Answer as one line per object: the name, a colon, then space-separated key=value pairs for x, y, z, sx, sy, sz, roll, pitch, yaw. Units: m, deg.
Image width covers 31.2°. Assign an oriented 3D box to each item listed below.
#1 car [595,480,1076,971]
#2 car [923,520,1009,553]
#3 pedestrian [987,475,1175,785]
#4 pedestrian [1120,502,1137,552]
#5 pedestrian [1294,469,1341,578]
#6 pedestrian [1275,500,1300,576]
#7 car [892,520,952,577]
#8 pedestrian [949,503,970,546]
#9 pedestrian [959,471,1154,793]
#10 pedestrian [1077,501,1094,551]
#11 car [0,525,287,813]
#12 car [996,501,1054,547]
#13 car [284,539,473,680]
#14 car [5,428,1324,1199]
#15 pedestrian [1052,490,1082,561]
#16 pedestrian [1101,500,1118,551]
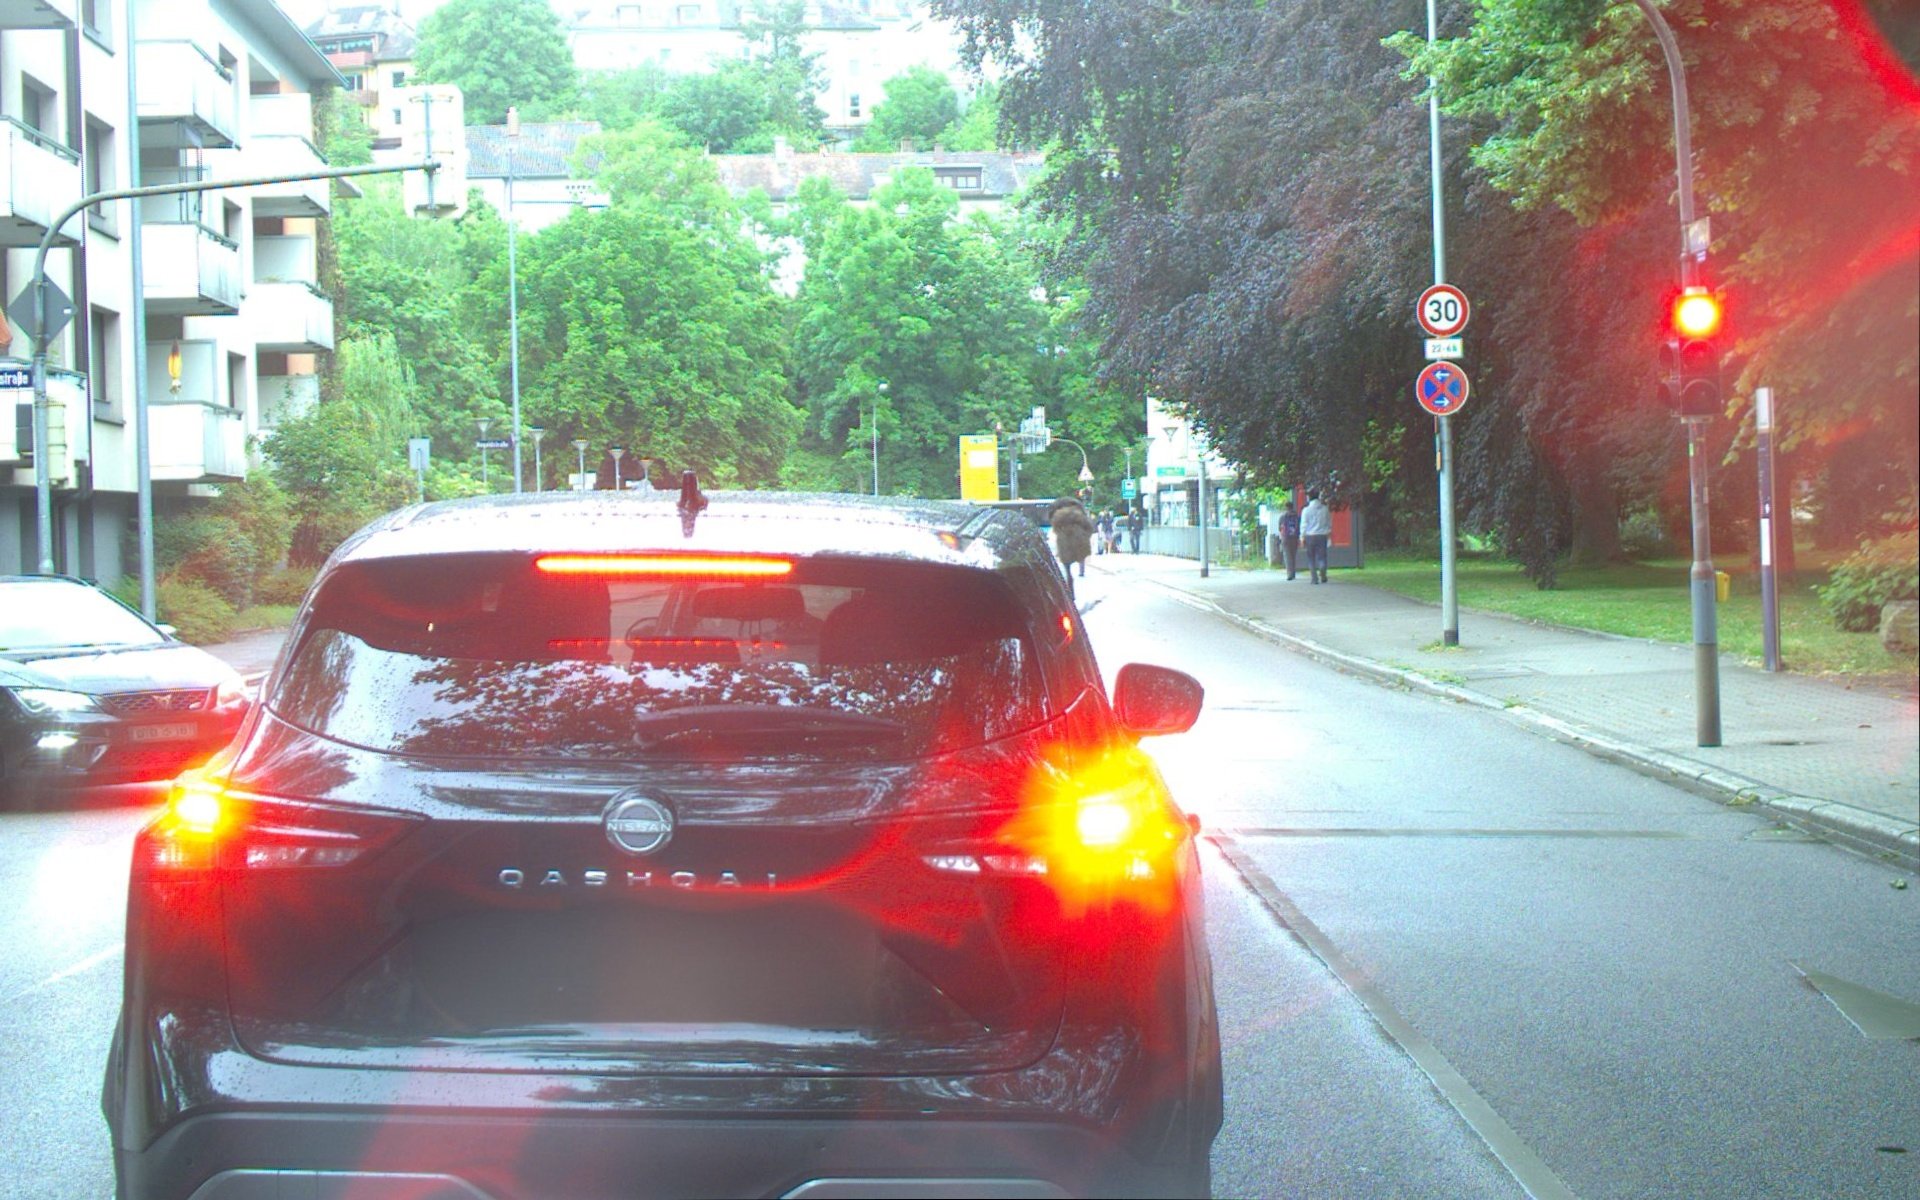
car: x=-0.476 y=0.419 z=14.416 sx=1.698 sy=1.739 sz=3.641 roll=-2 pitch=1 yaw=-1
car: x=0.311 y=-3.220 z=174.045 sx=3.953 sy=1.527 sz=1.640 roll=-3 pitch=1 yaw=-21
pedestrian: x=0.738 y=0.173 z=21.164 sx=1.035 sy=1.869 sz=0.658 roll=0 pitch=1 yaw=-11
pedestrian: x=6.090 y=-2.627 z=124.044 sx=0.508 sy=1.795 sz=0.619 roll=-2 pitch=1 yaw=-2
pedestrian: x=6.676 y=-1.430 z=64.260 sx=0.725 sy=2.007 sz=0.851 roll=-2 pitch=1 yaw=0
pedestrian: x=6.548 y=-1.246 z=68.755 sx=0.390 sy=1.497 sz=0.559 roll=-2 pitch=1 yaw=0
car: x=-1.083 y=-1.492 z=98.651 sx=1.634 sy=1.527 sz=3.968 roll=-2 pitch=1 yaw=-1
pedestrian: x=-0.010 y=-2.969 z=135.243 sx=0.509 sy=1.667 sz=0.658 roll=-1 pitch=1 yaw=27
pedestrian: x=0.566 y=0.180 z=20.412 sx=1.035 sy=1.869 sz=0.658 roll=0 pitch=1 yaw=-11
pedestrian: x=4.552 y=-2.694 z=124.662 sx=0.508 sy=1.795 sz=0.619 roll=-2 pitch=1 yaw=-1
car: x=-6.222 y=0.405 z=22.155 sx=1.846 sy=1.620 sz=4.136 roll=-3 pitch=2 yaw=-40
car: x=2.561 y=-2.957 z=134.651 sx=1.994 sy=1.729 sz=3.999 roll=1 pitch=1 yaw=4
car: x=-6.872 y=0.069 z=40.961 sx=1.795 sy=1.528 sz=3.868 roll=-2 pitch=1 yaw=-4
car: x=-0.448 y=0.547 z=7.003 sx=1.913 sy=1.674 sz=4.000 roll=0 pitch=1 yaw=0
pedestrian: x=2.728 y=-1.896 z=87.581 sx=0.508 sy=1.795 sz=0.620 roll=-2 pitch=1 yaw=-21
pedestrian: x=5.382 y=-2.689 z=123.966 sx=0.508 sy=1.795 sz=0.659 roll=-2 pitch=1 yaw=0
